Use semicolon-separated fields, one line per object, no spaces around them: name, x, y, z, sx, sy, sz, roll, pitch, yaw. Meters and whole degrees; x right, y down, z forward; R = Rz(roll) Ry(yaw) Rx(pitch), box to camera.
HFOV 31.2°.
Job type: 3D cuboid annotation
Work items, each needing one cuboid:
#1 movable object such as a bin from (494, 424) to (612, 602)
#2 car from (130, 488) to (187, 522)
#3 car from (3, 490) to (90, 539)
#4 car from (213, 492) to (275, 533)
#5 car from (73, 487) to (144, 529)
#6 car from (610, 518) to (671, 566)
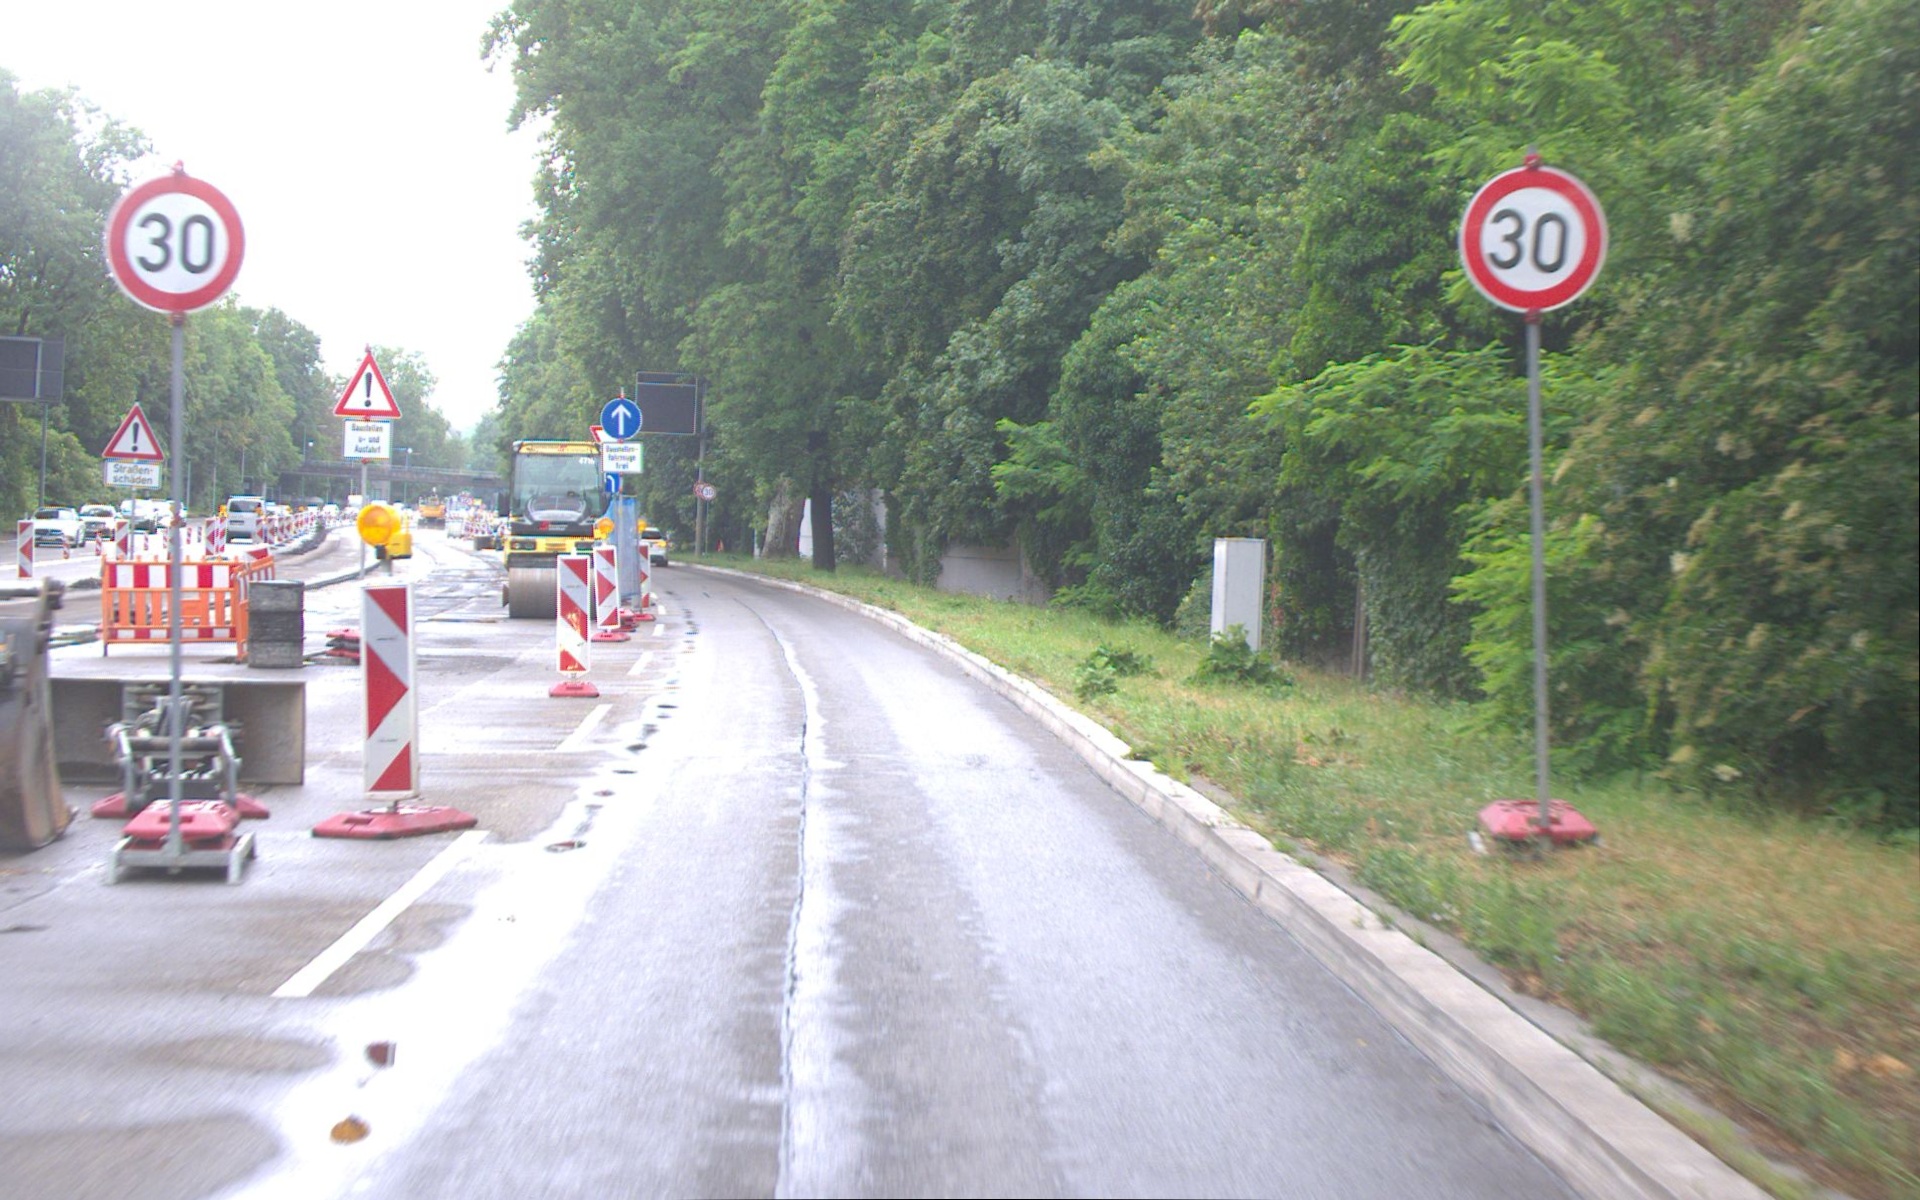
movable object such as a bin;-6.757;-1.450;57.360;1.746;2.857;3.535;1;1;-4
car;-39.652;-4.693;170.146;1.927;1.659;4.653;1;1;-2
car;-31.797;-2.982;119.793;1.927;1.659;4.653;1;1;-2
car;-31.458;-3.850;151.204;1.927;1.772;4.653;1;1;-2
car;-35.322;-3.818;142.665;1.927;1.659;4.653;1;1;-2
car;-11.769;-2.152;126.903;1.914;1.592;4.834;2;2;-2
